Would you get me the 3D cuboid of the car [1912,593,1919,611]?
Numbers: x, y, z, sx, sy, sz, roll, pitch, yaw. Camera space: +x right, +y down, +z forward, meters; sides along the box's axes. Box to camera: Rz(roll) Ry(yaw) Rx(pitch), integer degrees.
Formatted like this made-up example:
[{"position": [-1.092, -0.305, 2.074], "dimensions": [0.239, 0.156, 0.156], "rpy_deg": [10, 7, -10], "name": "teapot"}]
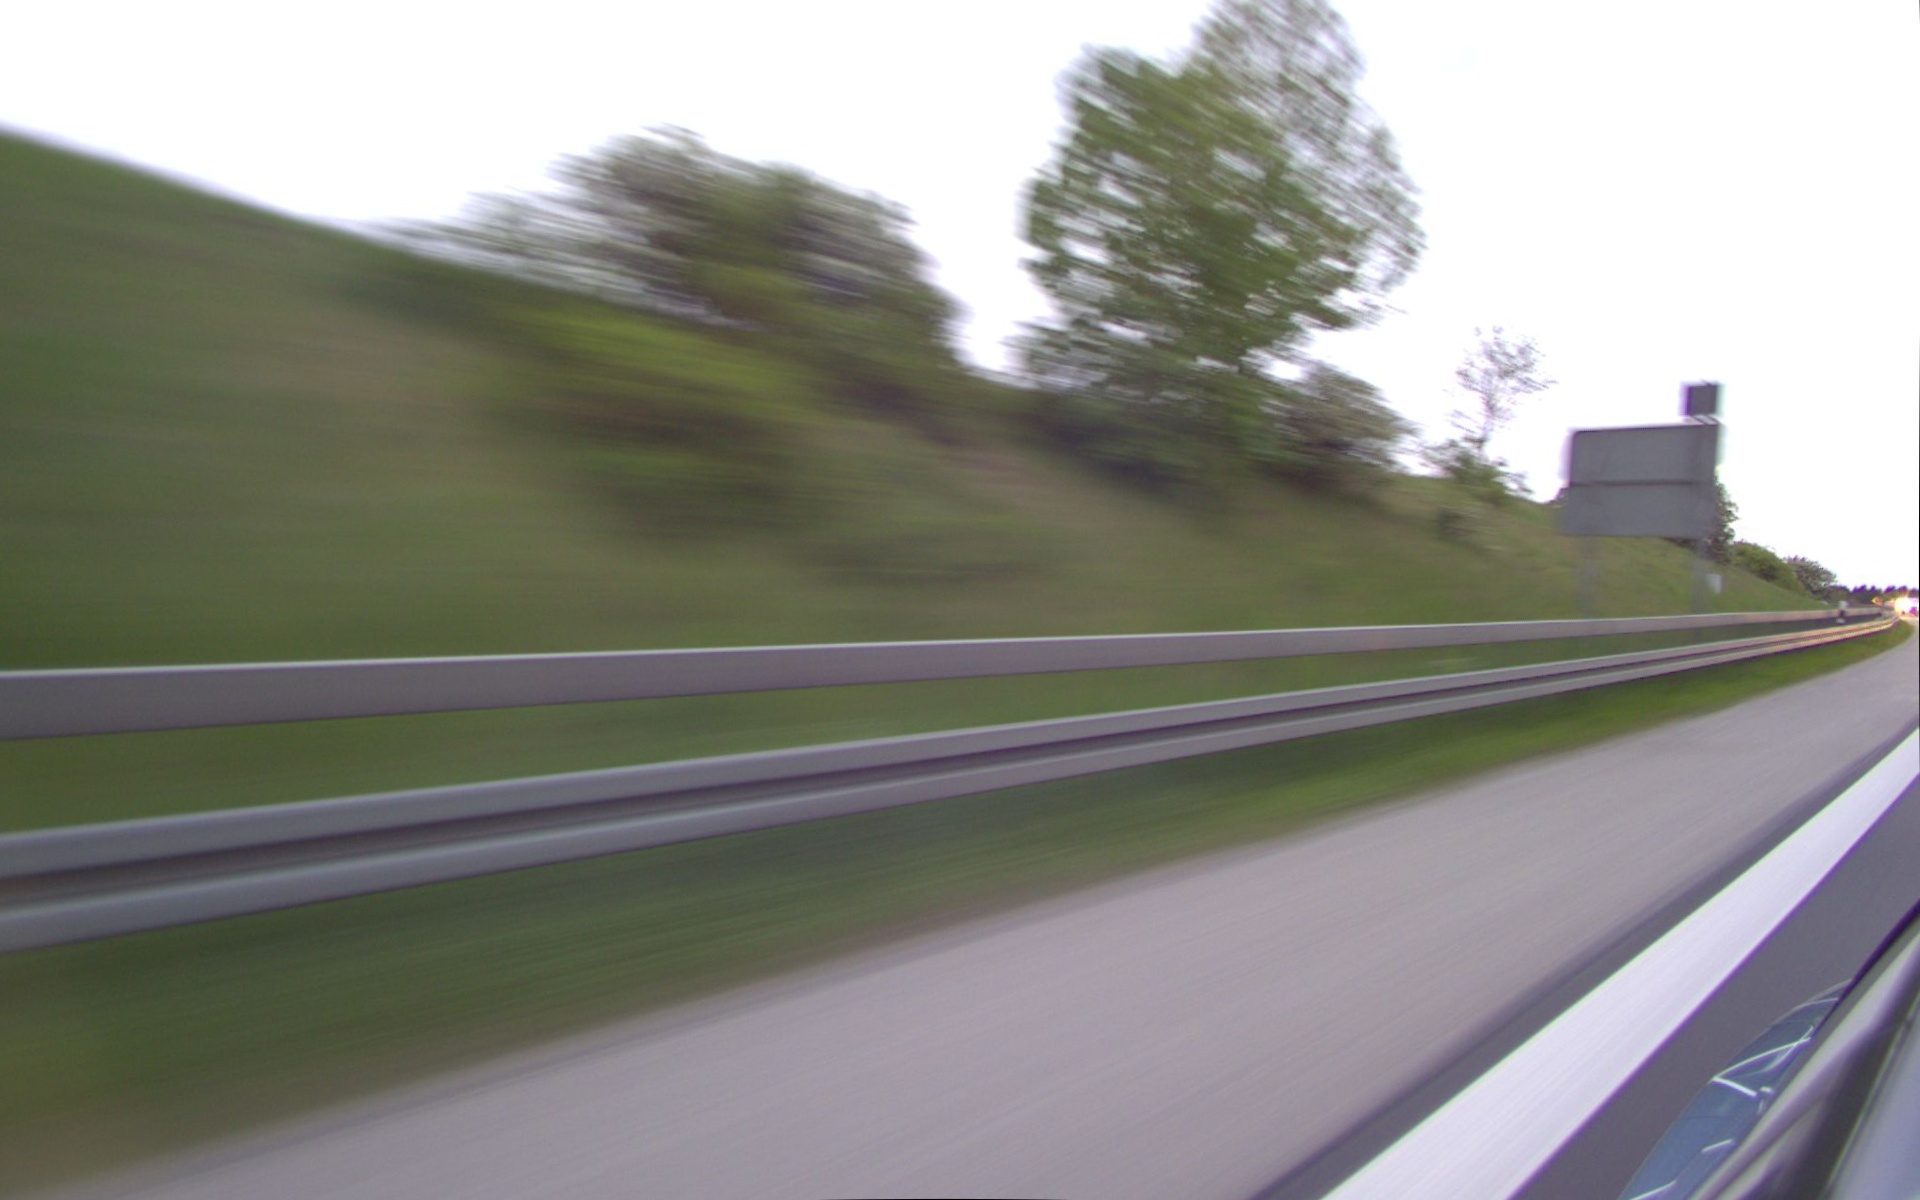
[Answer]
[{"position": [103.113, 0.282, 108.120], "dimensions": [1.914, 1.860, 3.939], "rpy_deg": [3, 1, 42], "name": "car"}]
